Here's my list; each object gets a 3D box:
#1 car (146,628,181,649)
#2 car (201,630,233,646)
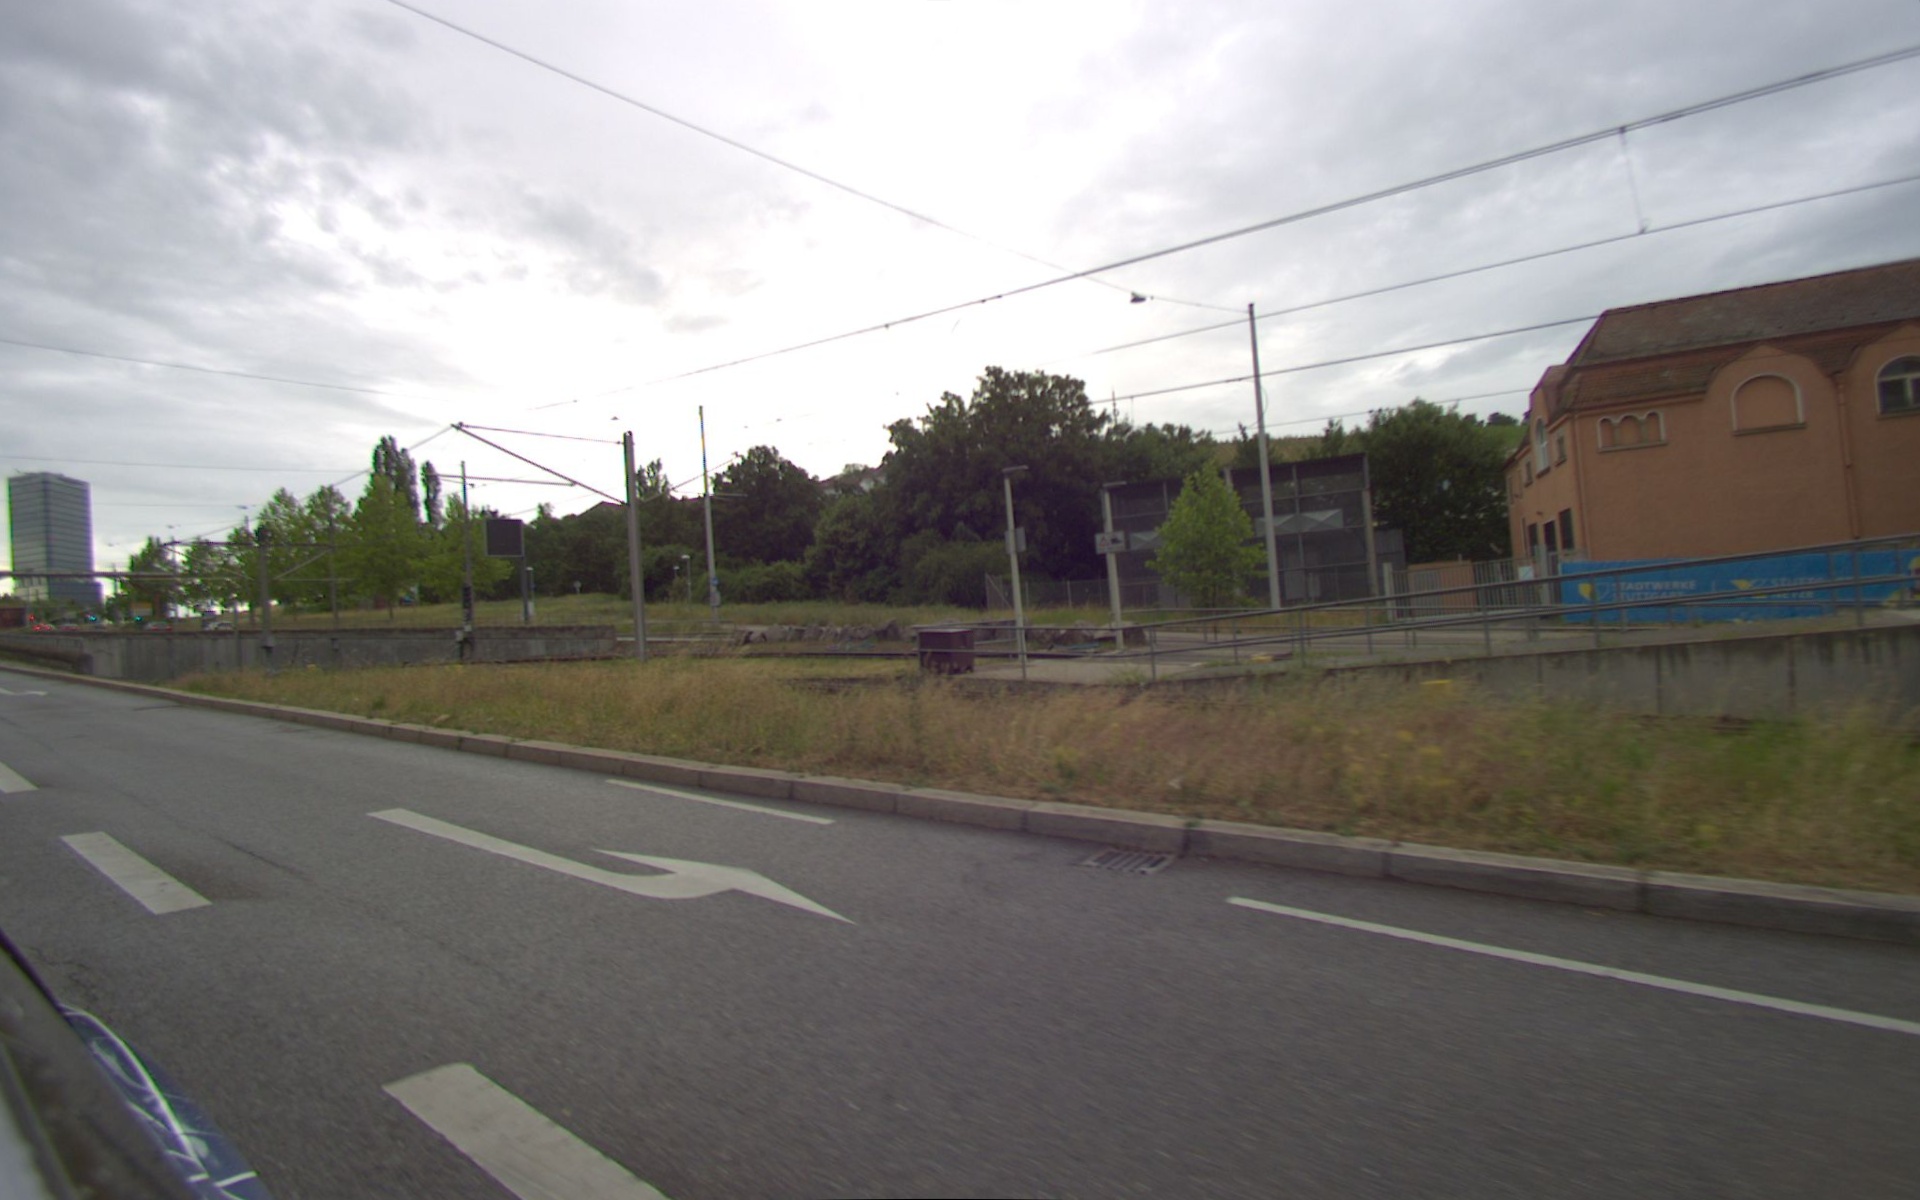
[{"bbox_3d":[-84.041,4.089,106.770,4.030,1.985,1.873,-2,2,38],"label":"car"},{"bbox_3d":[-65.875,3.387,89.684,3.558,1.301,1.539,-3,-1,42],"label":"car"}]
